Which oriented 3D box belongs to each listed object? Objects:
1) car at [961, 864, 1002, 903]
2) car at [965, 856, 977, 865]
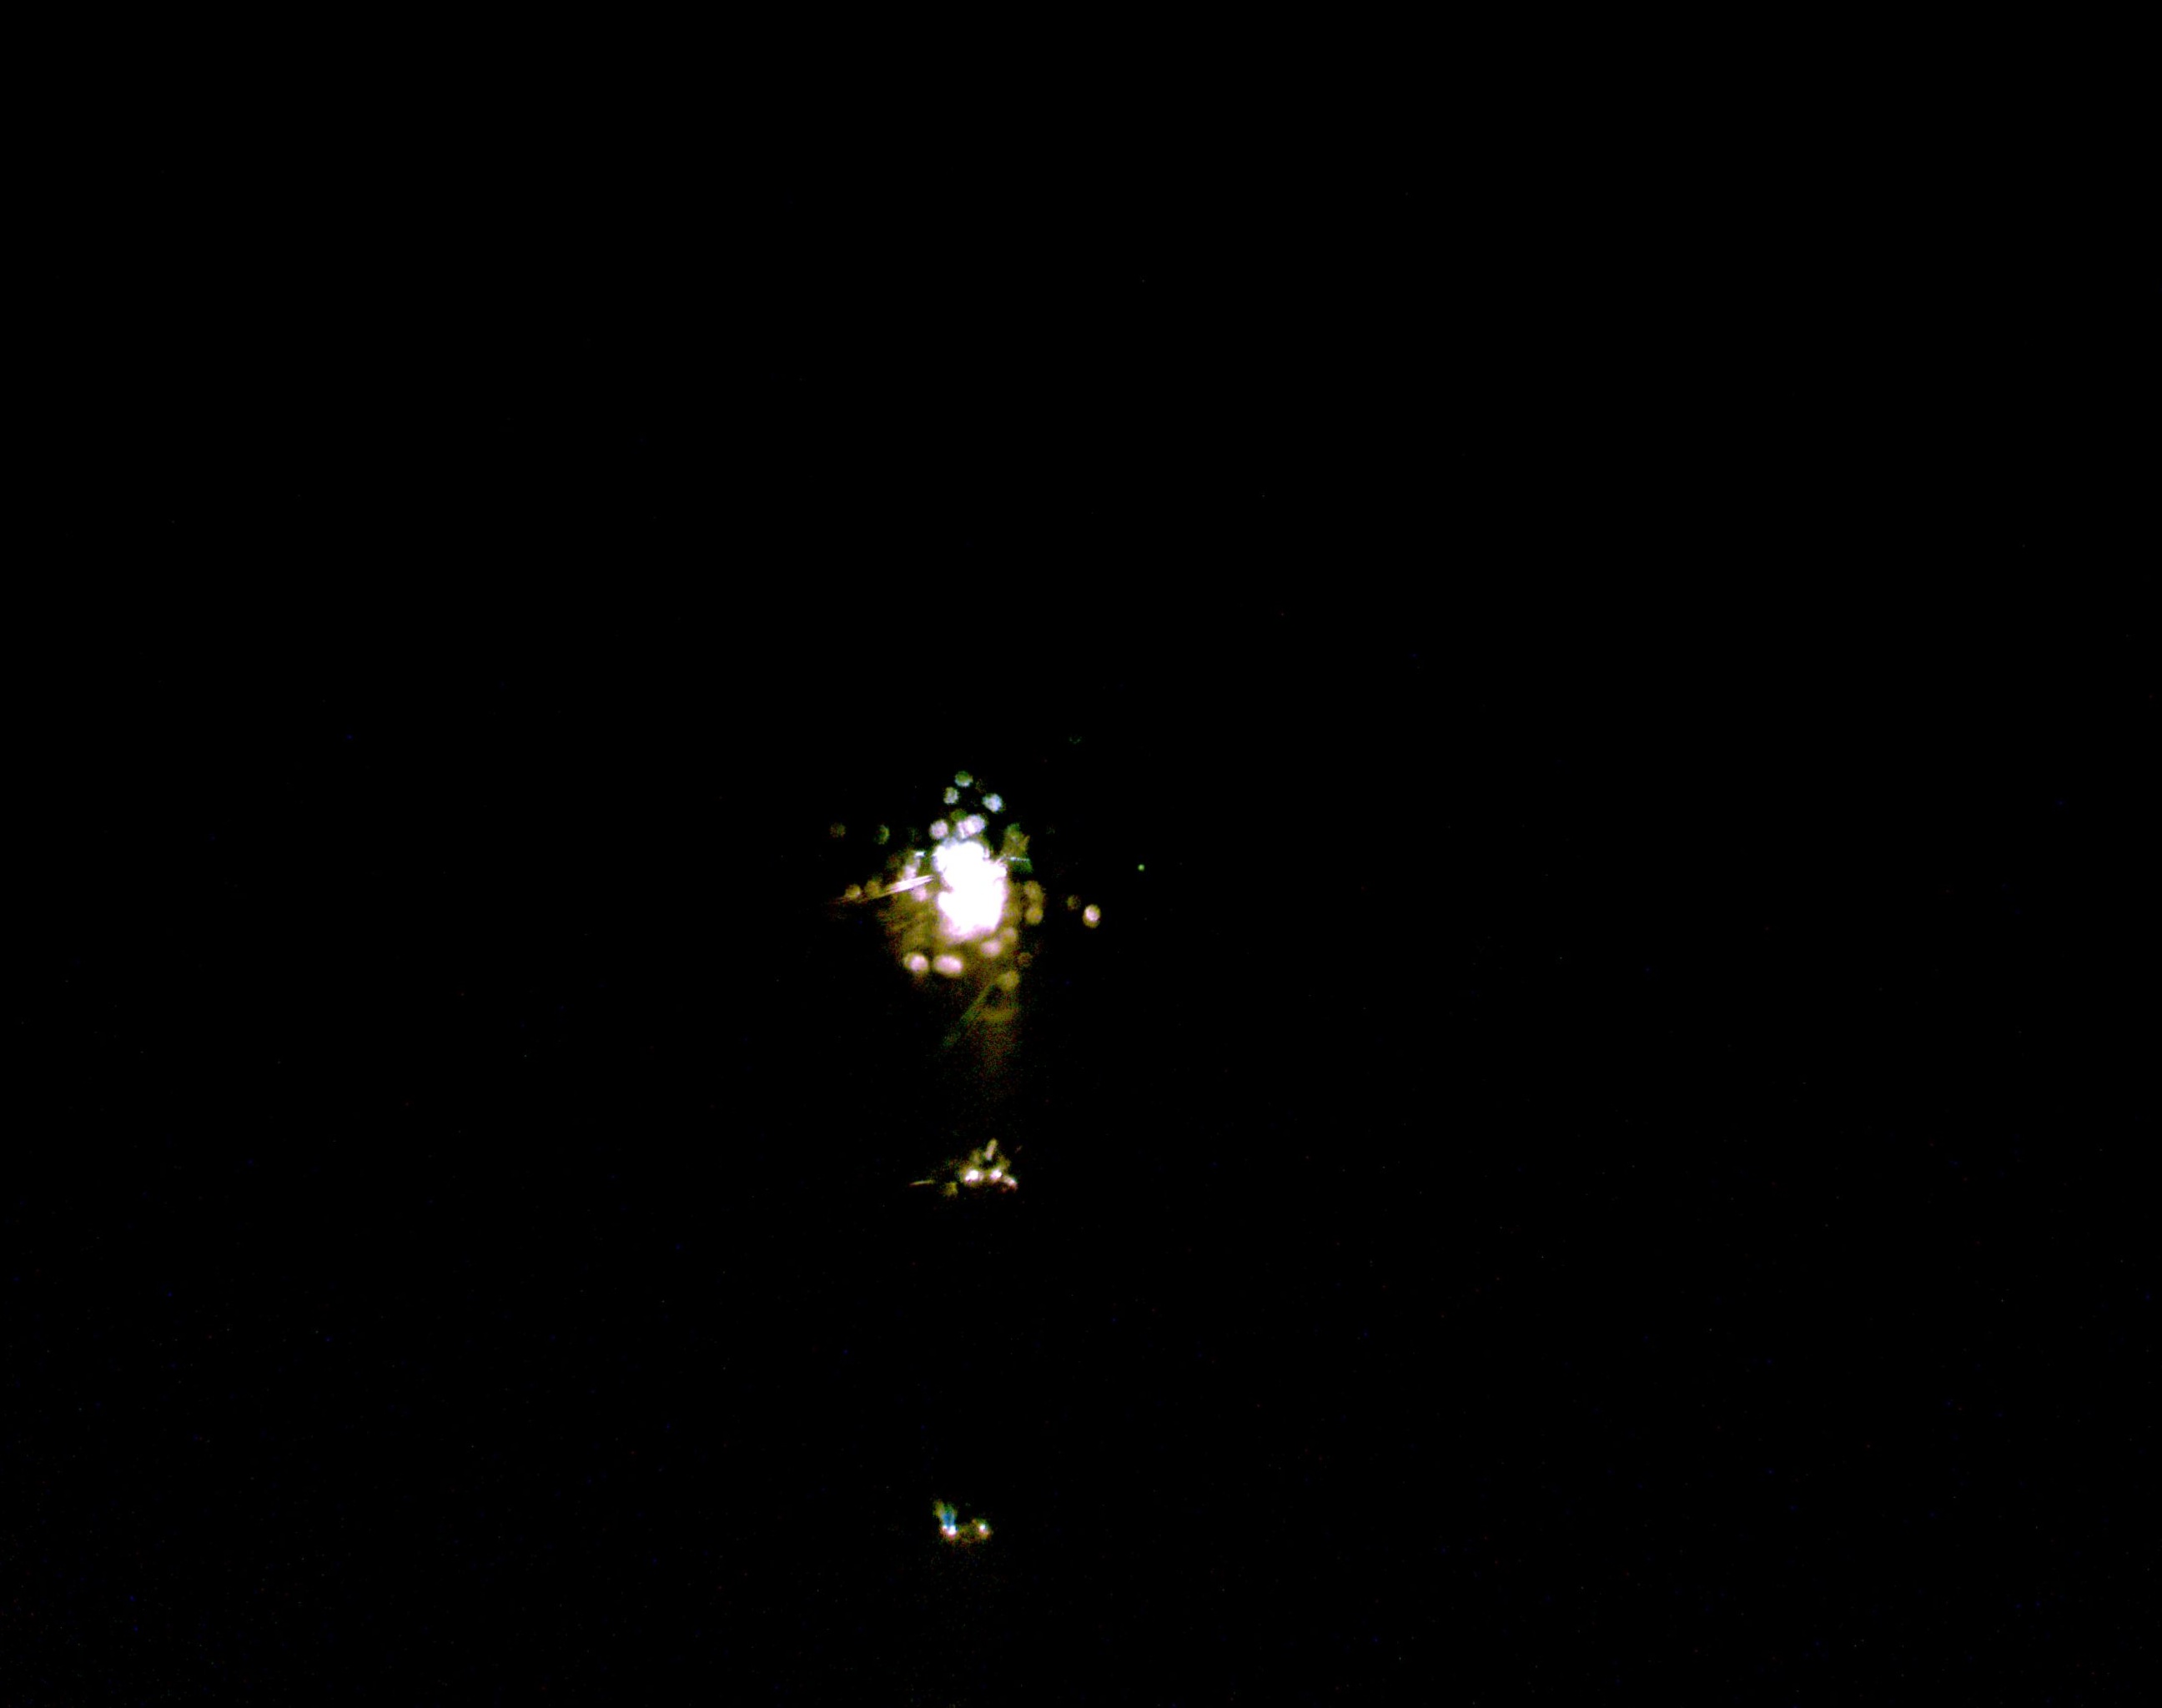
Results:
[{"bbox_3d":[-5.141,1.471,42.158,1.992,1.926,3.990,0,-1,-7],"label":"car"},{"bbox_3d":[-18.637,1.026,138.264,1.993,1.472,3.825,0,0,-8],"label":"car"}]
